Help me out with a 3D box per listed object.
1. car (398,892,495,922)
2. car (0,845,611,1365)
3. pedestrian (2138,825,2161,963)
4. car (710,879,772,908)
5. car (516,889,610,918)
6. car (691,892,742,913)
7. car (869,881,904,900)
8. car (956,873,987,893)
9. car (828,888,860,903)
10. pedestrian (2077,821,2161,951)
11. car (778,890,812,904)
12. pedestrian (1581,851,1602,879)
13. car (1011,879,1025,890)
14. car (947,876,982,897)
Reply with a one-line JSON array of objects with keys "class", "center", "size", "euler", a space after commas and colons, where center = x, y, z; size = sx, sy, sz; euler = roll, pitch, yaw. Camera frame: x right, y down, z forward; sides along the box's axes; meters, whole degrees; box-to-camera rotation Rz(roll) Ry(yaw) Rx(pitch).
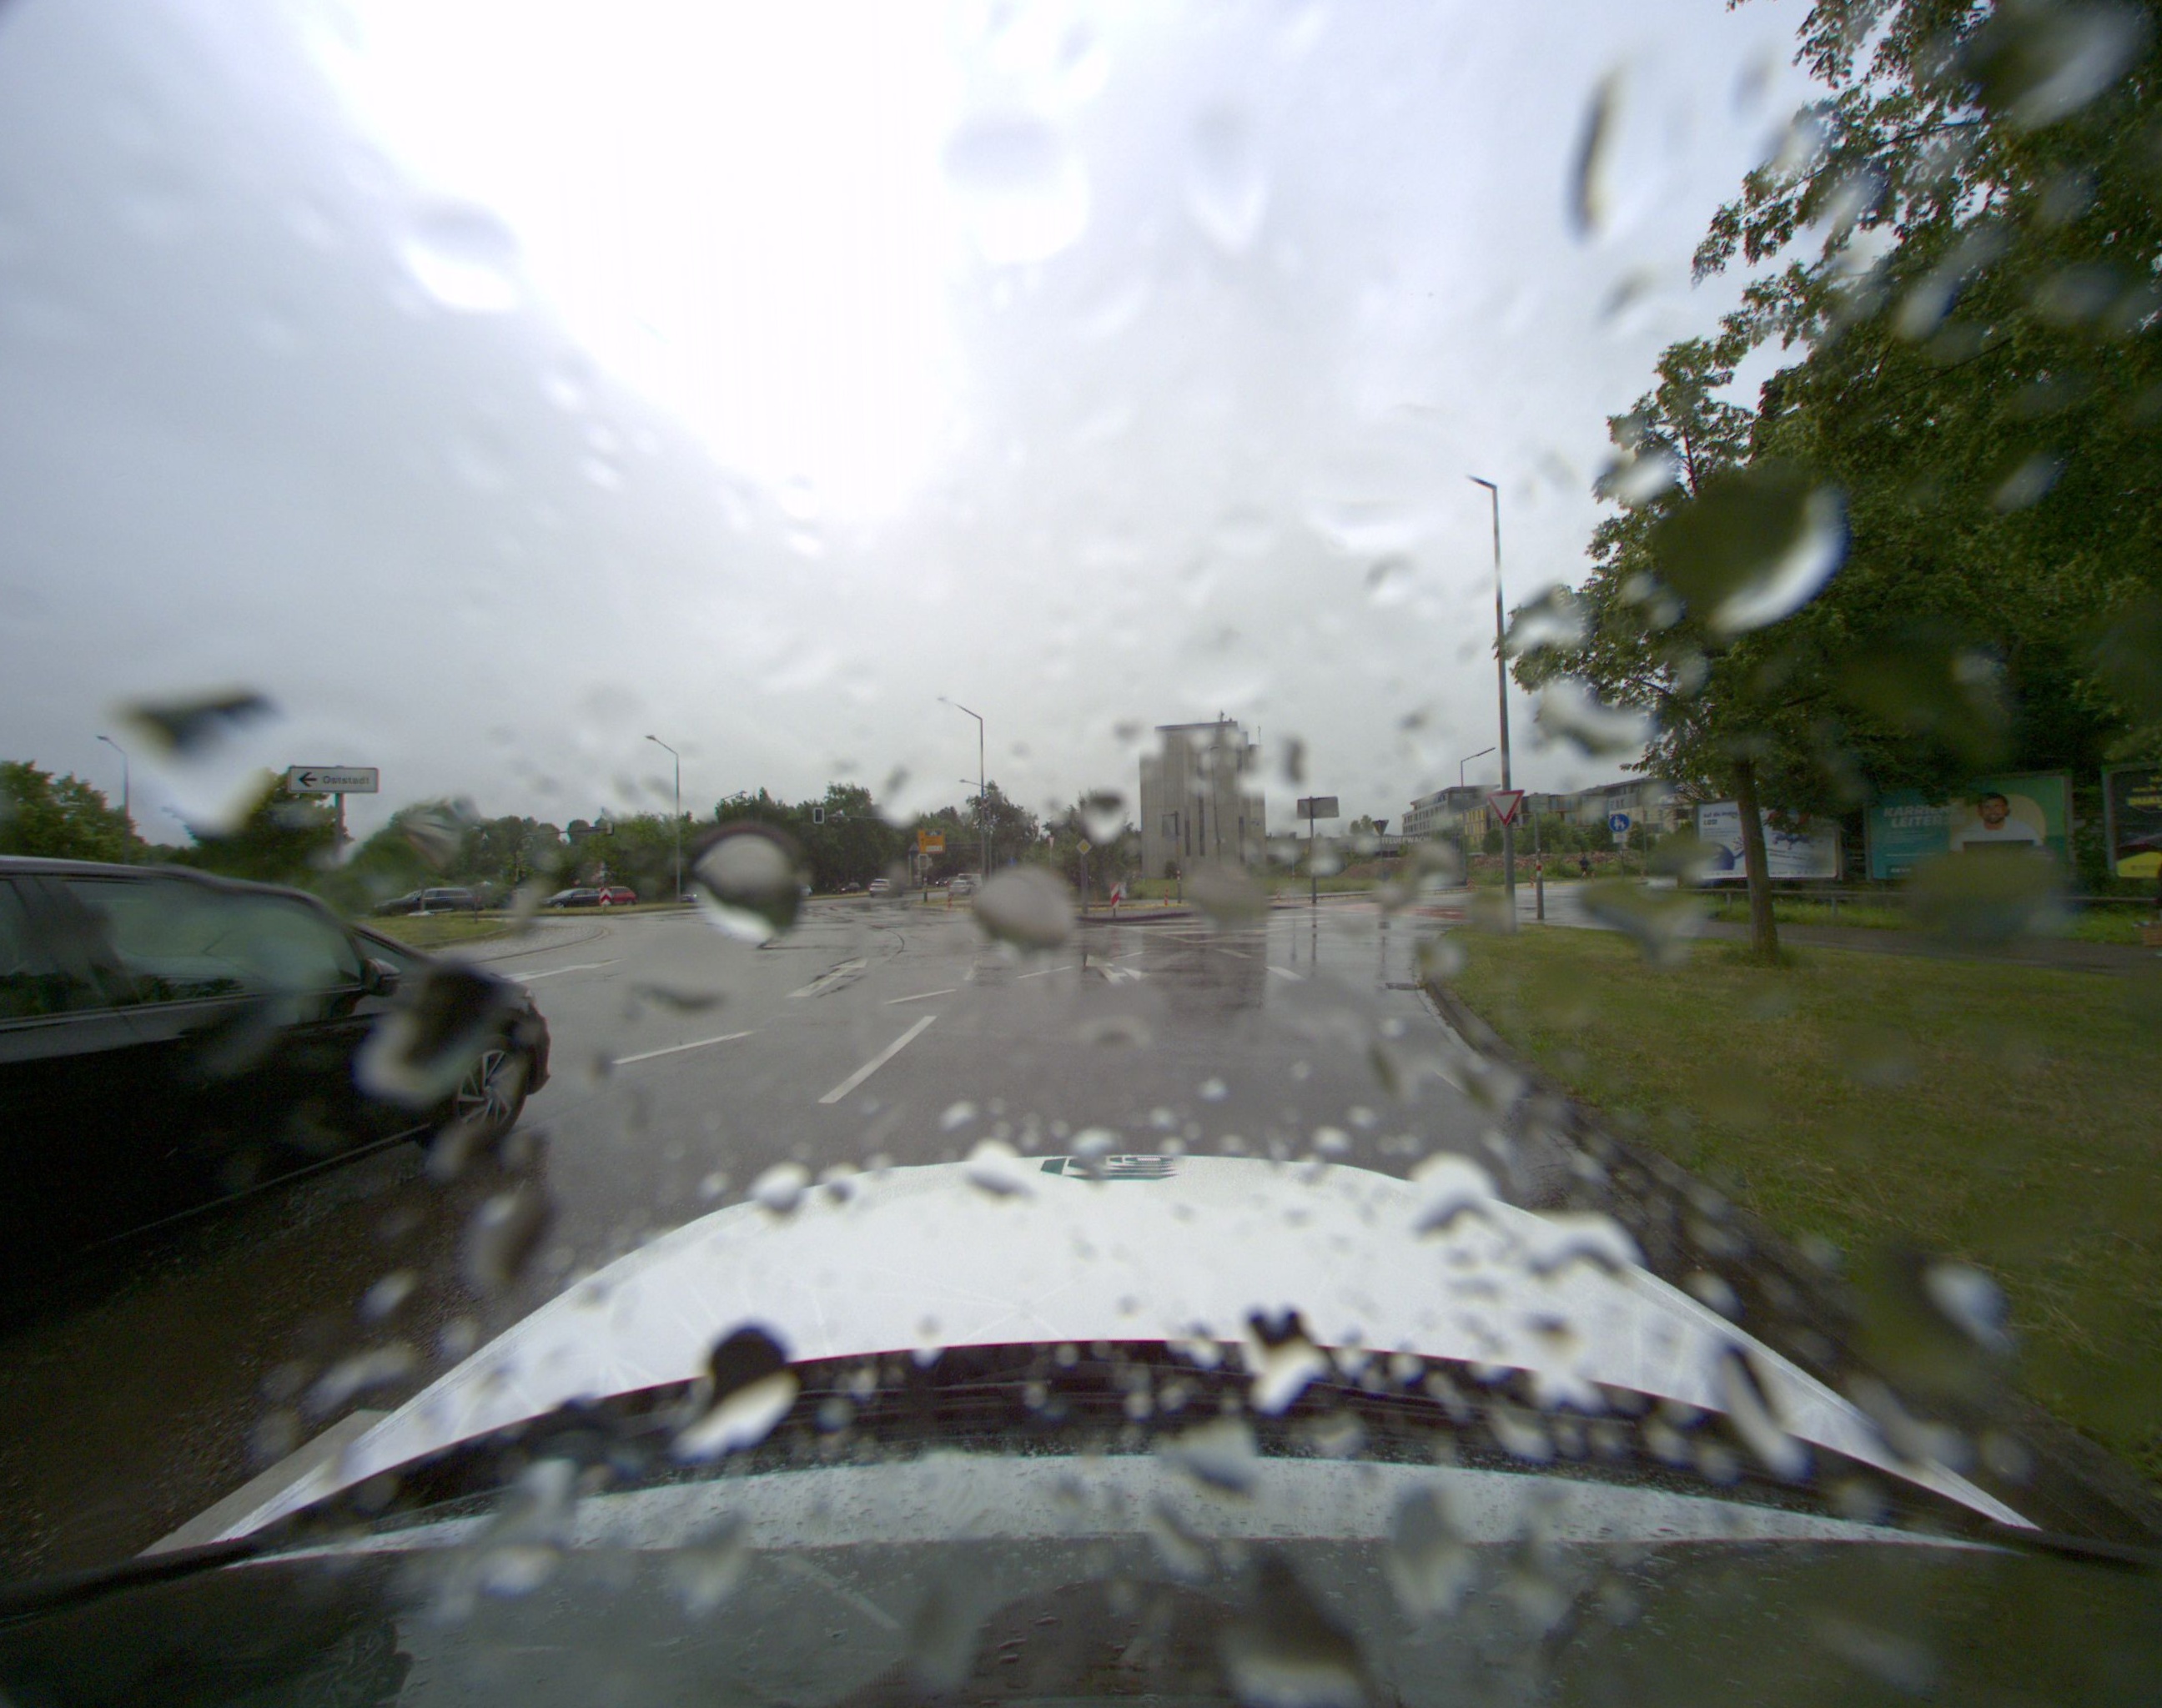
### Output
[{"class": "car", "center": [-36.584, 3.009, 47.026], "size": [4.171, 1.648, 1.767], "euler": [3, -4, -44]}, {"class": "car", "center": [-4.014, 0.757, 3.098], "size": [1.776, 1.517, 4.335], "euler": [-1, -1, 3]}, {"class": "pedestrian", "center": [14.464, 0.513, 10.361], "size": [0.912, 1.785, 0.812], "euler": [-1, -3, 25]}, {"class": "car", "center": [-20.303, 2.370, 48.794], "size": [1.775, 1.648, 4.003], "euler": [0, -3, 3]}, {"class": "car", "center": [-31.119, 2.944, 49.016], "size": [1.766, 1.648, 4.420], "euler": [-2, -4, 39]}, {"class": "car", "center": [-29.161, 3.884, 65.347], "size": [1.775, 1.648, 4.398], "euler": [0, -3, 5]}, {"class": "car", "center": [-17.076, 3.239, 71.706], "size": [1.672, 1.648, 3.954], "euler": [0, -3, 7]}, {"class": "car", "center": [-11.490, 3.108, 85.855], "size": [1.770, 2.036, 4.014], "euler": [0, -3, 14]}, {"class": "car", "center": [-27.166, 4.777, 93.530], "size": [1.770, 1.648, 4.014], "euler": [0, -3, 14]}, {"class": "pedestrian", "center": [15.069, 0.460, 11.518], "size": [0.912, 1.785, 0.812], "euler": [-1, -3, 25]}, {"class": "car", "center": [-29.024, 4.380, 82.783], "size": [1.619, 1.376, 4.255], "euler": [0, -3, 6]}, {"class": "pedestrian", "center": [37.273, 0.837, 59.427], "size": [1.135, 2.014, 0.841], "euler": [2, -3, -29]}, {"class": "car", "center": [-8.872, 4.310, 114.592], "size": [1.682, 1.492, 3.251], "euler": [-1, -1, 1]}, {"class": "car", "center": [-10.641, 2.916, 74.791], "size": [1.772, 1.811, 4.850], "euler": [-2, -2, 10]}]
